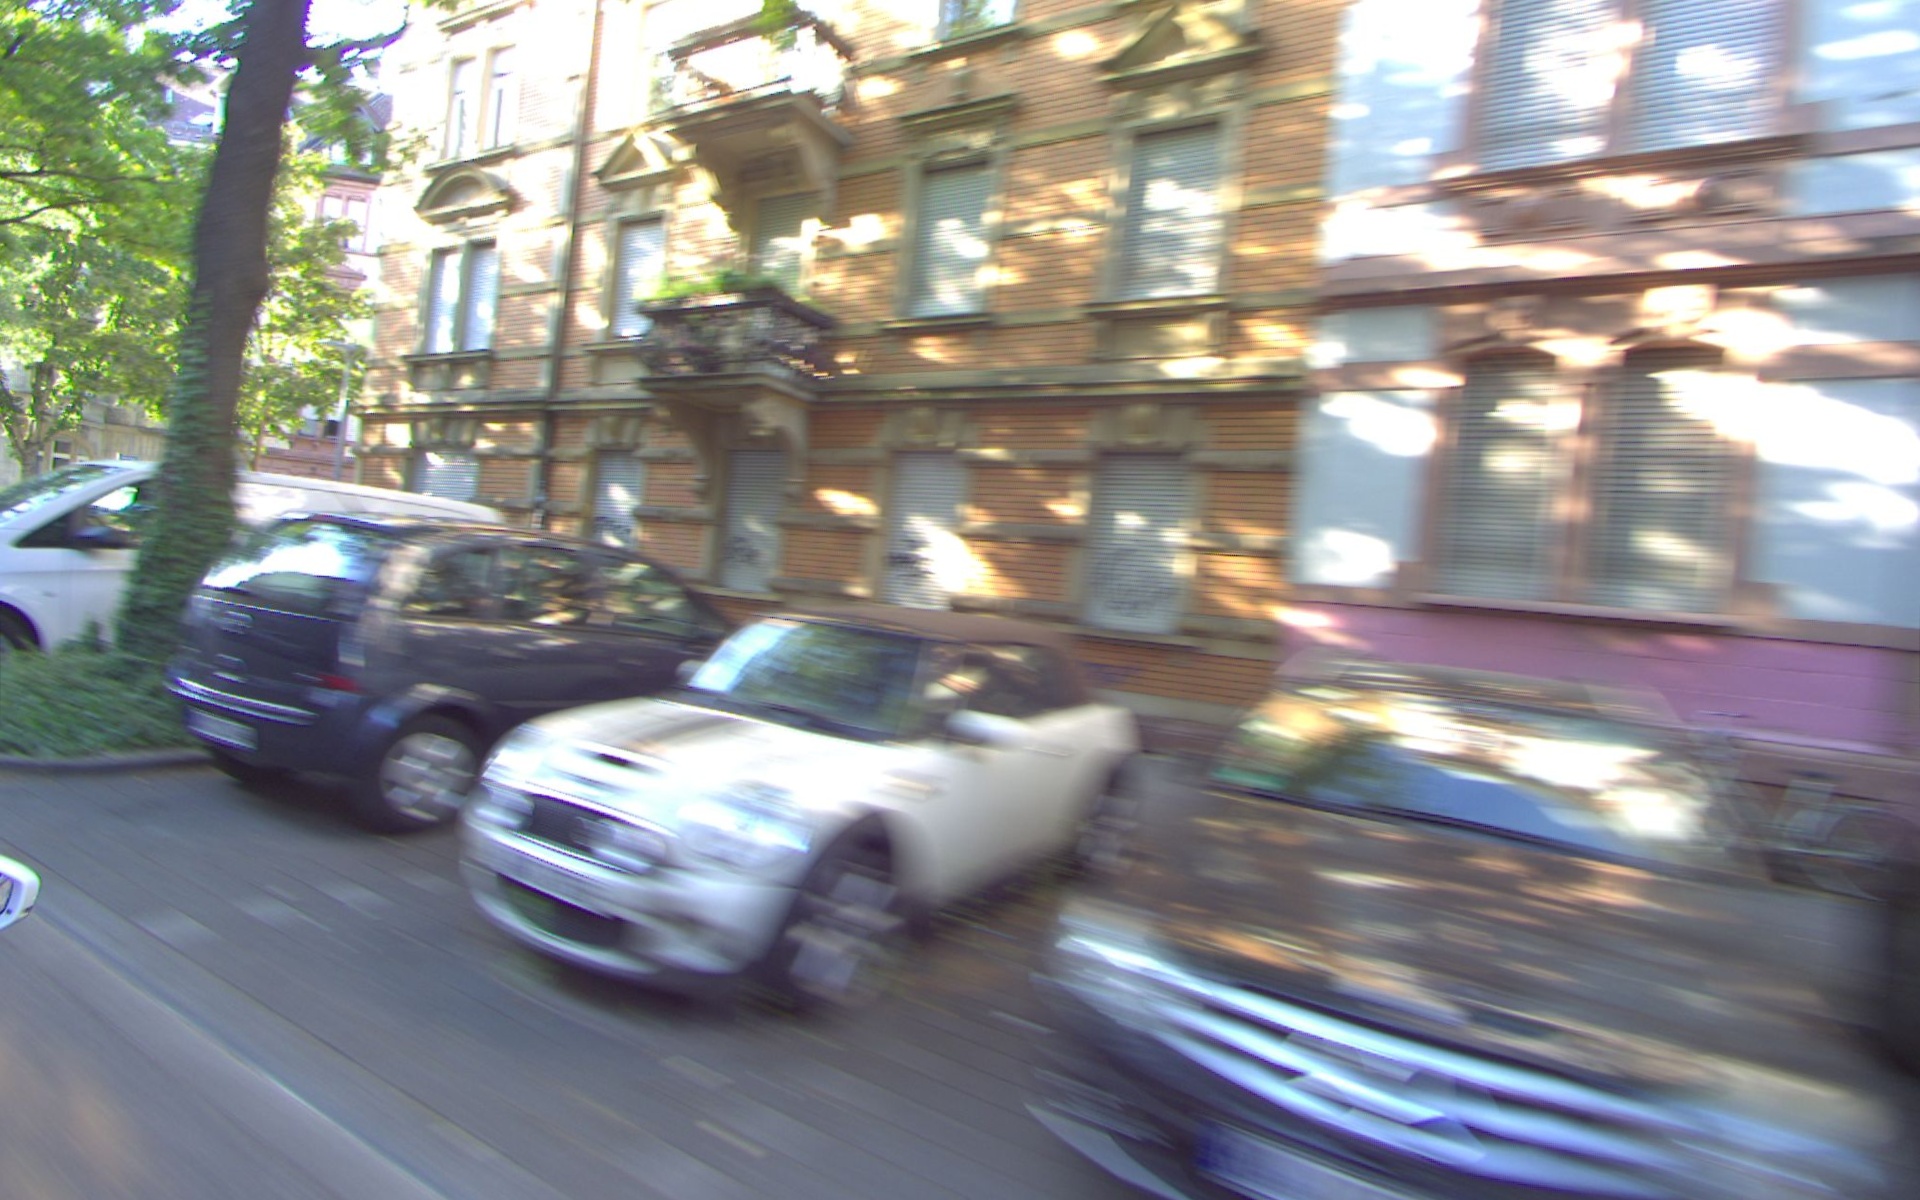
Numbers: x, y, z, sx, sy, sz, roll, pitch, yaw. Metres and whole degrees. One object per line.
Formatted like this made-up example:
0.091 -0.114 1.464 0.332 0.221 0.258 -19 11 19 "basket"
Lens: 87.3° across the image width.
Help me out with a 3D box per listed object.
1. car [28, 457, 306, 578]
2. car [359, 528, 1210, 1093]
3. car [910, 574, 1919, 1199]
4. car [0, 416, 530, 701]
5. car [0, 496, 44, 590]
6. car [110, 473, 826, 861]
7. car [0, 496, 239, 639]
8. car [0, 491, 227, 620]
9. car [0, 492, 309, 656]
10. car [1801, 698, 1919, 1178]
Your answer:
-23.255 -2.322 29.891 2.337 2.567 5.911 7 -1 25 "car"
-0.370 0.727 5.071 1.782 1.521 4.109 7 -1 33 "car"
1.878 0.957 3.921 1.899 1.521 4.669 7 -1 28 "car"
-6.737 -0.194 8.807 2.123 1.962 5.099 2 -3 31 "car"
-17.001 -1.137 15.442 1.861 1.465 3.988 6 -1 35 "car"
-2.755 0.383 6.622 1.694 1.669 3.894 7 -1 26 "car"
-11.258 -0.479 11.546 1.902 1.473 4.375 7 -1 31 "car"
-12.914 -0.689 13.860 1.813 1.516 4.086 7 -1 31 "car"
-9.216 -0.286 10.220 1.749 1.493 3.996 7 0 24 "car"
3.927 1.172 2.584 1.967 1.548 4.557 7 -1 32 "car"
